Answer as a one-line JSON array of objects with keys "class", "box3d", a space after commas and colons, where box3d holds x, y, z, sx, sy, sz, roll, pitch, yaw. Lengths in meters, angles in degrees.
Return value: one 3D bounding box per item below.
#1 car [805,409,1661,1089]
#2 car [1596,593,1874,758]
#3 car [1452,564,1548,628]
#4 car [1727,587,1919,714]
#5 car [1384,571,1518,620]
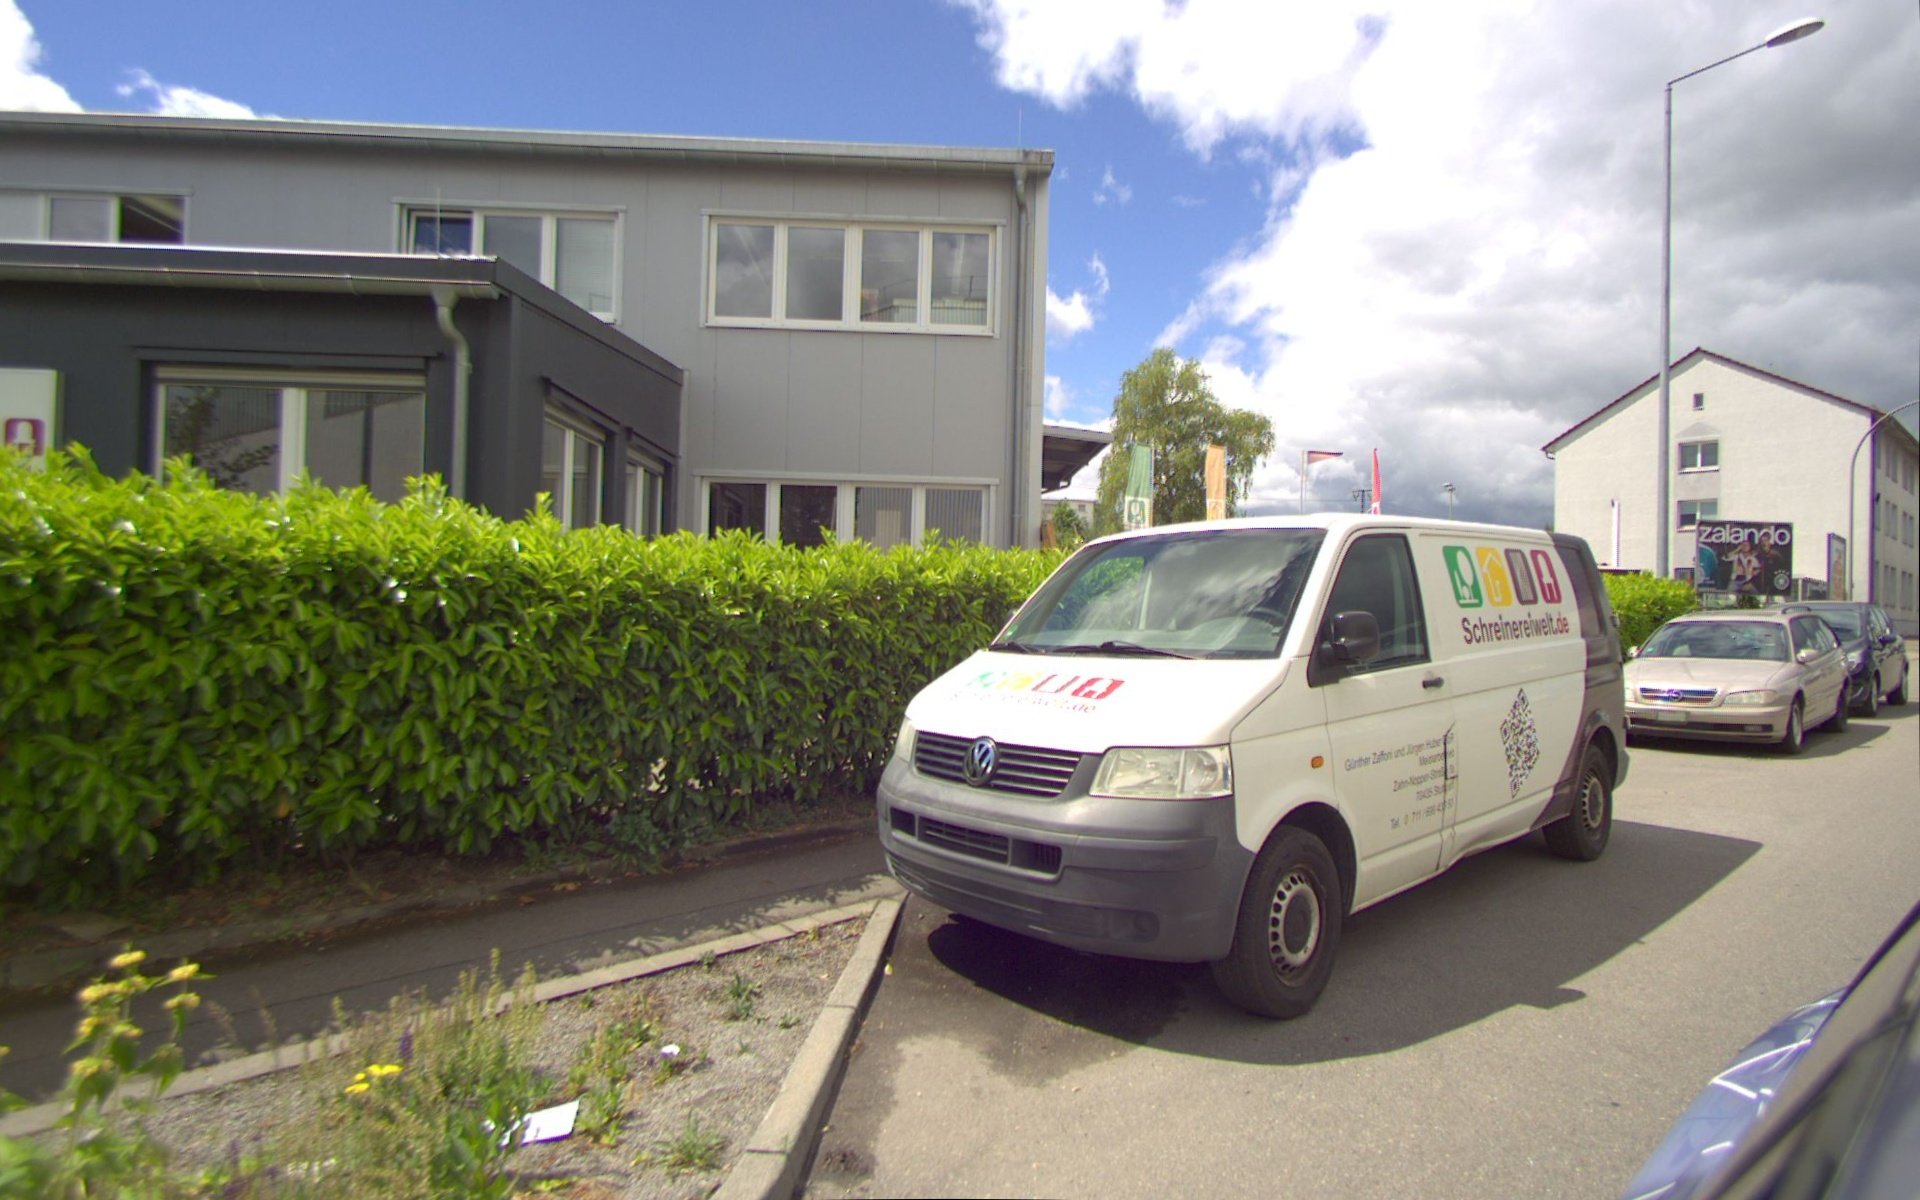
[{"class": "car", "box3d": [1.843, 0.432, 5.371, 5.053, 2.015, 1.872, 0, 0, -41]}, {"class": "car", "box3d": [9.172, 0.718, 11.812, 4.651, 1.559, 1.658, 0, 0, -41]}, {"class": "car", "box3d": [25.449, -0.258, 47.604, 5.362, 2.802, 2.280, -2, 2, -41]}, {"class": "car", "box3d": [13.124, 0.657, 15.148, 4.048, 1.658, 1.683, 0, 0, -39]}, {"class": "car", "box3d": [26.481, -0.301, 54.731, 2.238, 2.482, 6.167, -2, 2, -44]}]
